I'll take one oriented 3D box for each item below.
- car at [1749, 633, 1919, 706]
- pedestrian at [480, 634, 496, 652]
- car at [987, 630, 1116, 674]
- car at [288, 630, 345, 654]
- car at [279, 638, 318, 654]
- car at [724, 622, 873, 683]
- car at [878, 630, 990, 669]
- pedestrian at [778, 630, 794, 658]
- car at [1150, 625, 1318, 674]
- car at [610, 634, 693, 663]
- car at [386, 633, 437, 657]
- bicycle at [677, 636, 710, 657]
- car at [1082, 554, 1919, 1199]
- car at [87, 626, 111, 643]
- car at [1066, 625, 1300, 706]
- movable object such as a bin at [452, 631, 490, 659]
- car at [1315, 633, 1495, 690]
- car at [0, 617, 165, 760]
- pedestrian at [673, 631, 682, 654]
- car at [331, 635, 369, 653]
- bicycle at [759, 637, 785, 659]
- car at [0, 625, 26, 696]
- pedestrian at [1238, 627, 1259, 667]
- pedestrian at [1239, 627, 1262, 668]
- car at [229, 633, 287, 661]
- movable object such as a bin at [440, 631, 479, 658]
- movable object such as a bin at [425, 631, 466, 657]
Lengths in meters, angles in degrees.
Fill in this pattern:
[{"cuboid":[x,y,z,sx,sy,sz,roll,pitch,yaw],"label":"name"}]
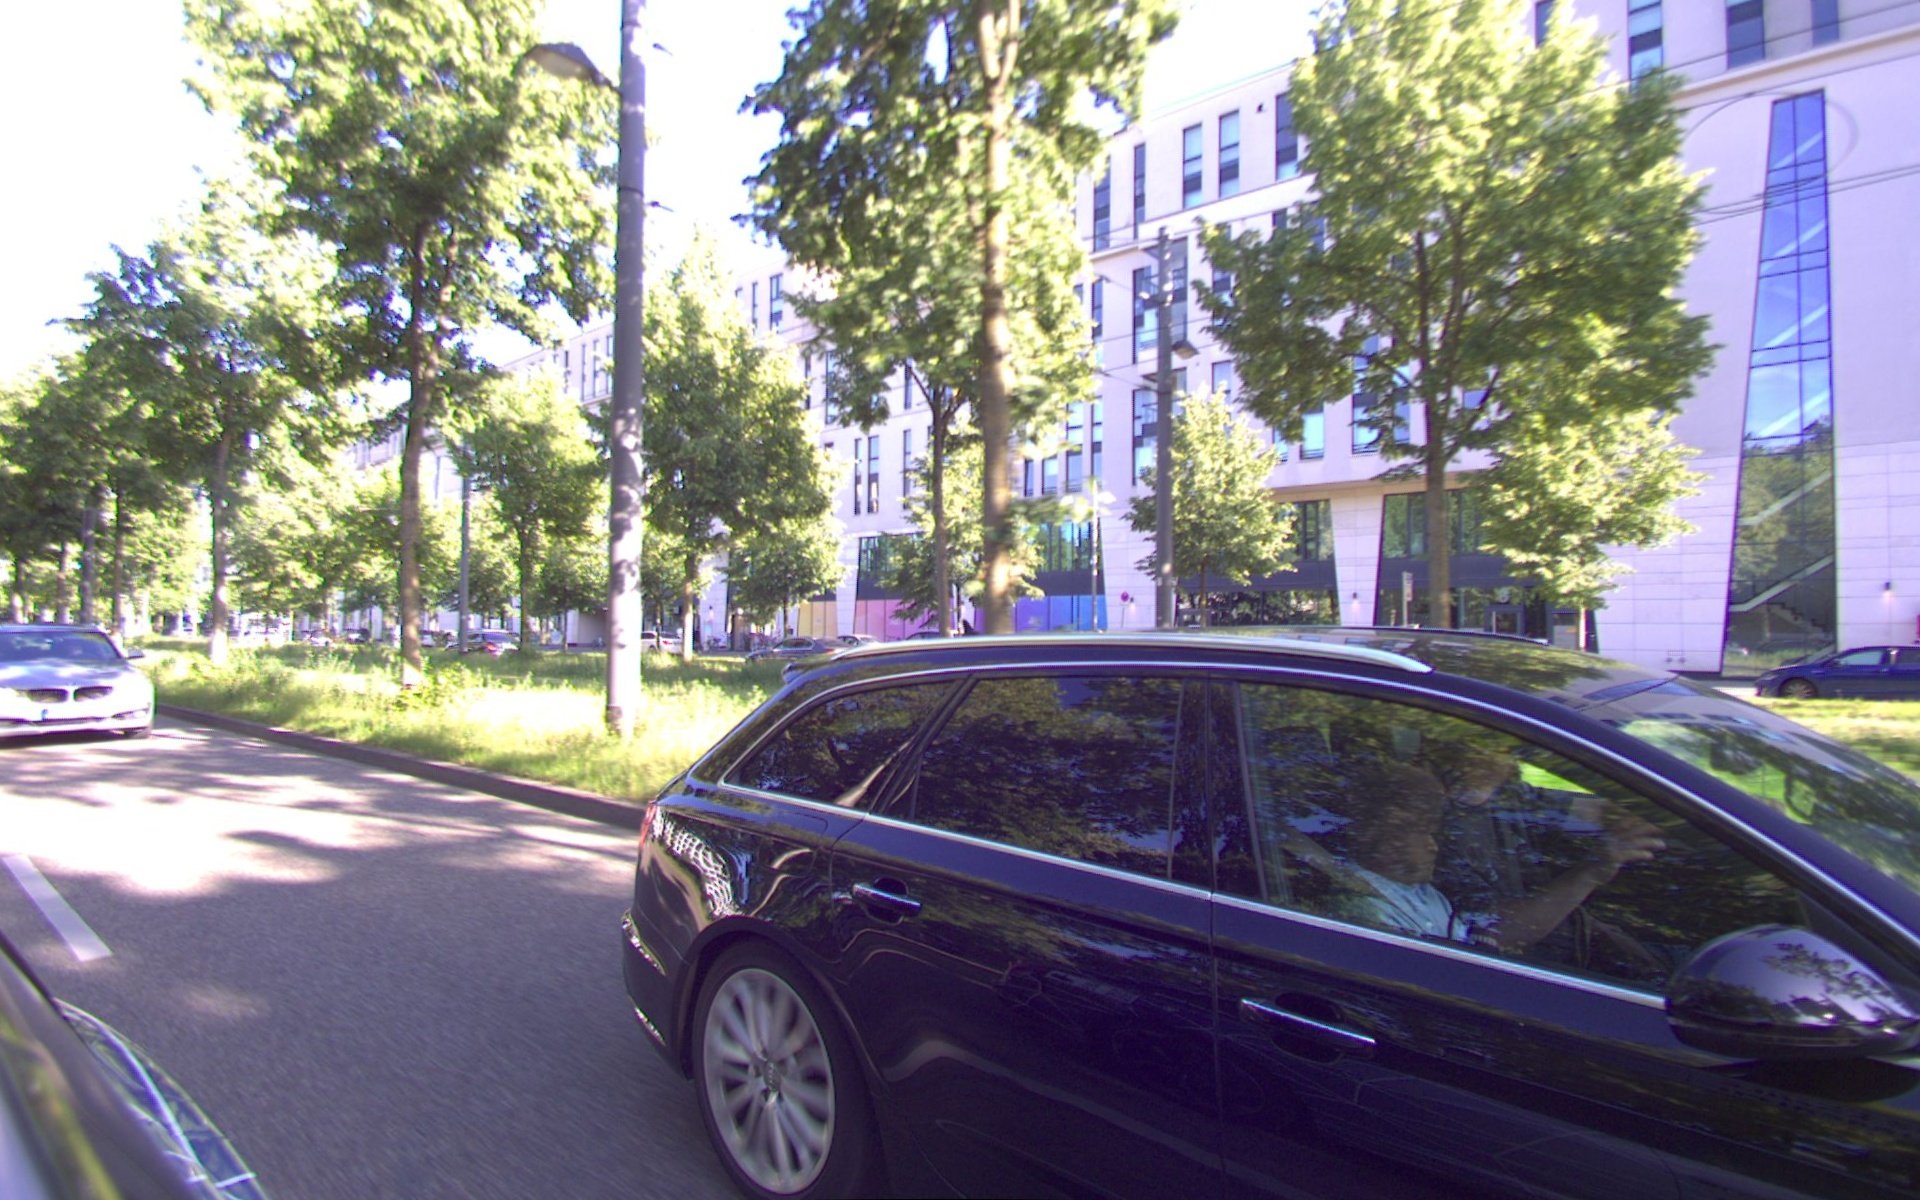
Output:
[{"cuboid":[20.352,1.513,22.550,4.264,1.452,1.937,-1,-1,42],"label":"car"},{"cuboid":[-41.432,3.753,88.834,1.024,1.479,0.939,-1,-1,32],"label":"pedestrian"},{"cuboid":[3.369,1.904,37.753,4.451,1.452,1.974,-1,0,39],"label":"car"},{"cuboid":[-43.916,2.845,69.002,5.109,1.452,1.972,-1,0,42],"label":"car"},{"cuboid":[-61.370,4.213,93.826,4.331,1.424,1.706,-1,-3,38],"label":"car"},{"cuboid":[-5.375,1.680,33.284,5.248,1.855,1.972,-2,-2,42],"label":"car"},{"cuboid":[-1.114,1.982,41.491,4.454,1.452,1.973,-1,0,41],"label":"car"},{"cuboid":[-10.432,2.652,60.805,0.719,1.663,0.629,-1,-1,39],"label":"pedestrian"},{"cuboid":[8.870,1.557,33.030,4.931,1.452,1.974,-1,0,39],"label":"car"},{"cuboid":[-17.048,2.648,55.830,4.920,1.452,1.974,-1,0,39],"label":"car"},{"cuboid":[-42.390,3.442,78.175,4.334,1.742,1.974,-1,-1,39],"label":"car"},{"cuboid":[-17.339,3.024,65.735,0.935,1.290,2.775,0,-1,-42],"label":"bicycle"},{"cuboid":[2.757,0.663,0.808,5.082,1.492,1.932,-2,-1,41],"label":"car"},{"cuboid":[-109.393,4.394,128.628,4.001,2.029,1.971,-1,-1,44],"label":"car"},{"cuboid":[4.604,1.295,21.324,4.457,1.452,1.971,-1,-1,44],"label":"car"},{"cuboid":[-33.809,3.085,69.966,1.554,1.808,1.951,-1,-1,39],"label":"movable object such as a bin"},{"cuboid":[12.922,1.719,29.535,4.451,1.452,1.974,-1,0,39],"label":"car"},{"cuboid":[-12.082,1.041,13.290,4.276,1.590,1.862,-1,-1,42],"label":"car"},{"cuboid":[-19.302,2.906,69.127,0.494,1.561,0.522,-1,-1,-7],"label":"pedestrian"},{"cuboid":[-51.819,3.724,85.956,4.268,1.491,1.542,-2,-2,41],"label":"car"},{"cuboid":[-11.074,2.827,59.650,1.607,1.290,0.592,-1,-1,39],"label":"bicycle"},{"cuboid":[-23.075,1.384,23.391,4.000,1.534,1.925,-1,-1,43],"label":"car"},{"cuboid":[12.336,1.989,43.255,0.718,1.663,0.630,-1,-1,34],"label":"pedestrian"},{"cuboid":[12.146,1.986,42.355,0.719,1.663,0.629,-1,-1,39],"label":"pedestrian"},{"cuboid":[-46.670,3.069,67.233,5.108,1.698,1.973,-1,-1,41],"label":"car"},{"cuboid":[-35.181,3.108,71.133,1.554,1.808,1.951,-1,-1,39],"label":"movable object such as a bin"},{"cuboid":[-36.803,3.135,72.398,2.008,1.808,1.951,-1,-1,39],"label":"movable object such as a bin"}]
